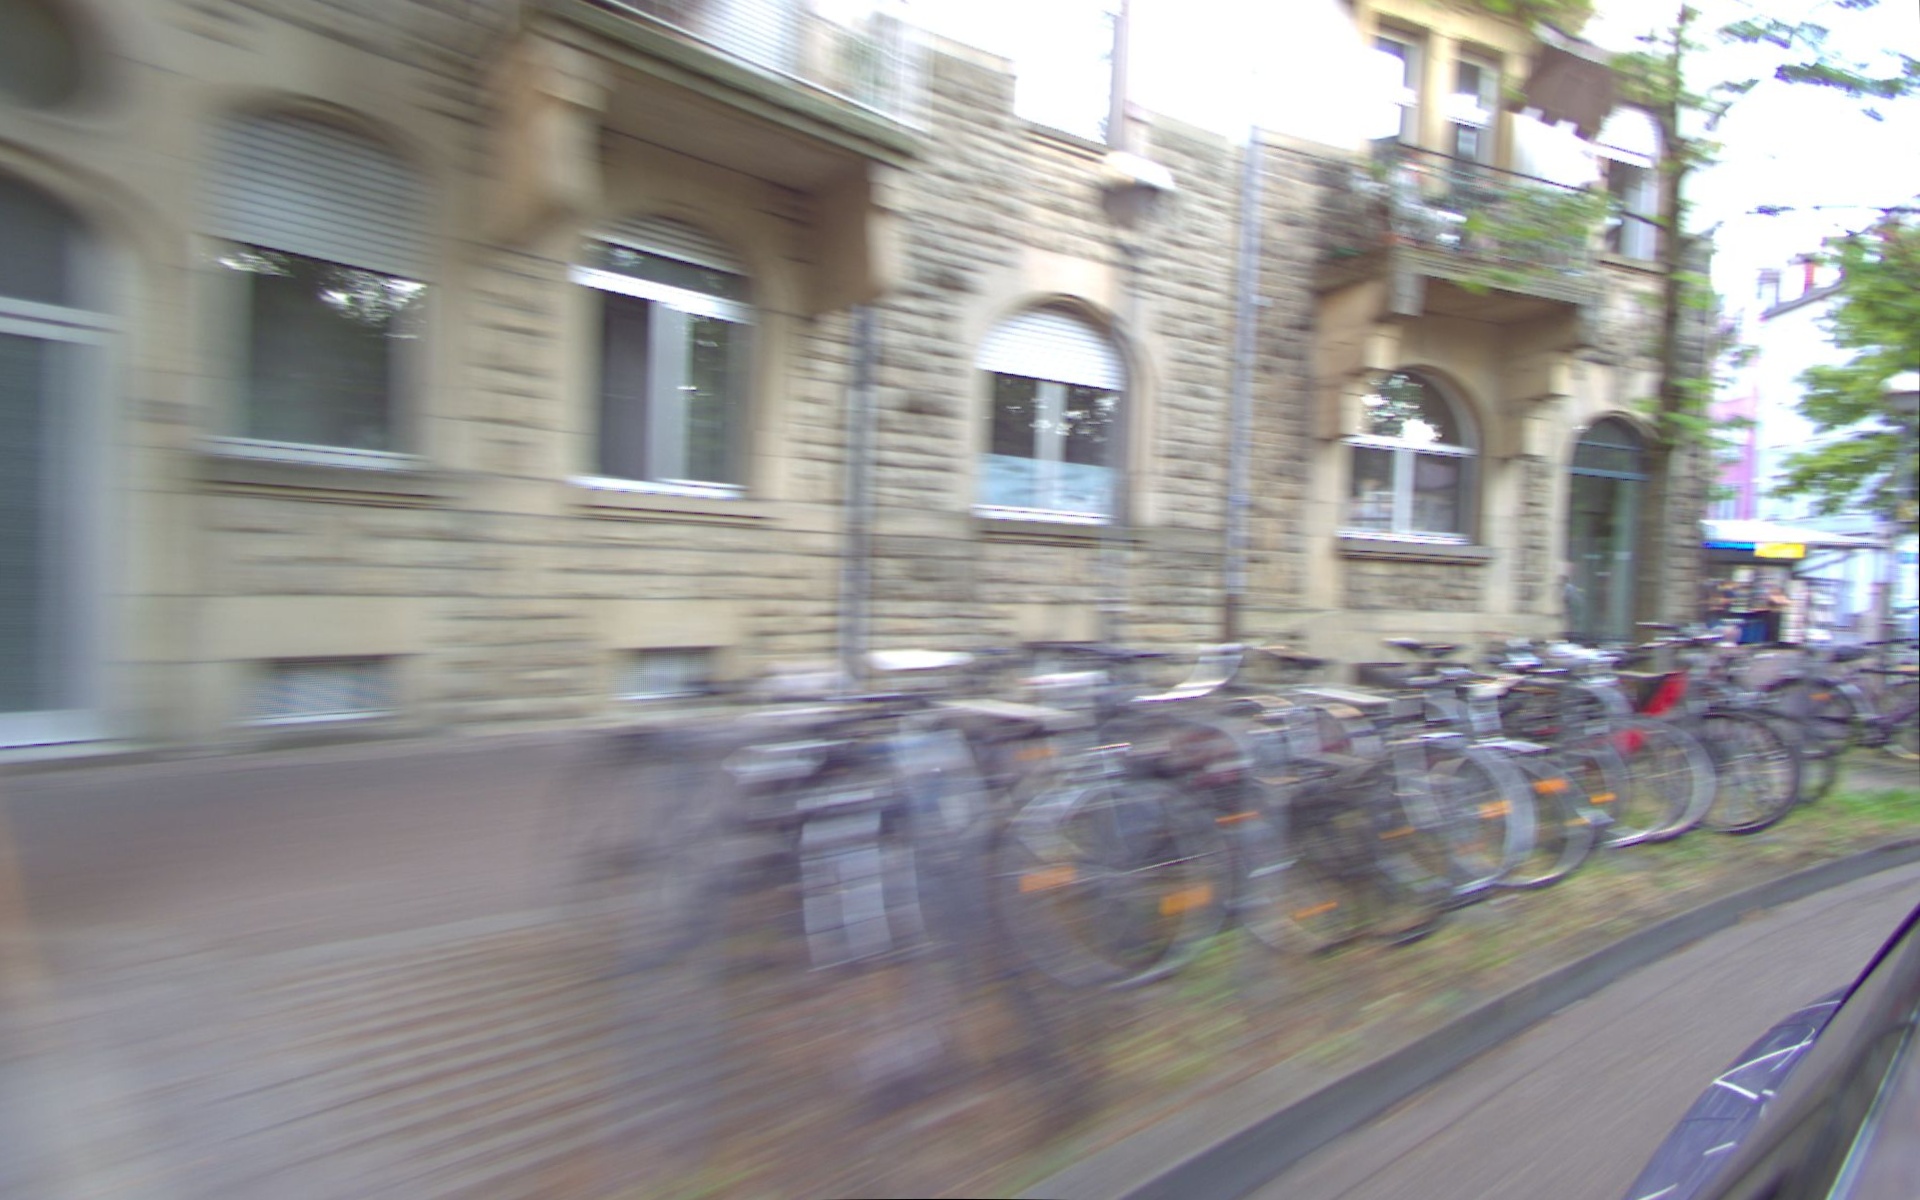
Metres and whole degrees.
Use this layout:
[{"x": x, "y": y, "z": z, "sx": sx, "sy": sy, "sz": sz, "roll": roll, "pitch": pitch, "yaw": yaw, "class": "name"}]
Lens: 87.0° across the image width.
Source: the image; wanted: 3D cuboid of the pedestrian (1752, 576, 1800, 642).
[{"x": 19.862, "y": 0.206, "z": 24.635, "sx": 0.664, "sy": 1.558, "sz": 0.592, "roll": 2, "pitch": 2, "yaw": -21, "class": "pedestrian"}]

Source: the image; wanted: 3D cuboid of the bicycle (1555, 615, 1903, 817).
[{"x": 5.091, "y": 0.699, "z": 6.851, "sx": 0.439, "sy": 1.076, "sz": 1.799, "roll": 1, "pitch": 2, "yaw": -31, "class": "bicycle"}]

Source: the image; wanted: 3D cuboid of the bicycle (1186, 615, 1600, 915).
[{"x": 1.958, "y": 0.668, "z": 4.884, "sx": 0.411, "sy": 1.064, "sz": 1.856, "roll": 1, "pitch": 3, "yaw": -35, "class": "bicycle"}]

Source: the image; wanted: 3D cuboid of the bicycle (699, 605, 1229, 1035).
[{"x": -0.053, "y": 0.634, "z": 3.618, "sx": 1.841, "sy": 1.117, "sz": 0.567, "roll": 4, "pitch": 2, "yaw": 32, "class": "bicycle"}]

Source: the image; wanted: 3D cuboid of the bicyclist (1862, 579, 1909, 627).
[{"x": 32.022, "y": 0.093, "z": 35.035, "sx": 0.712, "sy": 1.603, "sz": 0.875, "roll": 2, "pitch": 2, "yaw": -1, "class": "bicyclist"}]

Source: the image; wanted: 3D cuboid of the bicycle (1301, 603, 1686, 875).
[{"x": 2.764, "y": 0.637, "z": 5.492, "sx": 0.410, "sy": 1.130, "sz": 1.858, "roll": 1, "pitch": 2, "yaw": -31, "class": "bicycle"}]

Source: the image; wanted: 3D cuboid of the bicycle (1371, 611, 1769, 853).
[{"x": 3.473, "y": 0.669, "z": 5.978, "sx": 0.542, "sy": 1.078, "sz": 1.922, "roll": 1, "pitch": 3, "yaw": -34, "class": "bicycle"}]

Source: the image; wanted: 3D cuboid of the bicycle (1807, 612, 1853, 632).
[{"x": 32.935, "y": 0.838, "z": 38.330, "sx": 0.641, "sy": 0.650, "sz": 1.460, "roll": 3, "pitch": 2, "yaw": 10, "class": "bicycle"}]

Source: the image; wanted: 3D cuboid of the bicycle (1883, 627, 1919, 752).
[{"x": 8.576, "y": 0.800, "z": 8.116, "sx": 0.543, "sy": 1.033, "sz": 1.611, "roll": 1, "pitch": 2, "yaw": -24, "class": "bicycle"}]

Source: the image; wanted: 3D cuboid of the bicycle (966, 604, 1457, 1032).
[{"x": 0.841, "y": 0.682, "z": 3.904, "sx": 0.413, "sy": 1.137, "sz": 1.856, "roll": -21, "pitch": 15, "yaw": -32, "class": "bicycle"}]

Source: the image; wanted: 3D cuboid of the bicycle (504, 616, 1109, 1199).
[{"x": -0.546, "y": 0.676, "z": 2.770, "sx": 1.878, "sy": 1.154, "sz": 0.484, "roll": 2, "pitch": -2, "yaw": 42, "class": "bicycle"}]

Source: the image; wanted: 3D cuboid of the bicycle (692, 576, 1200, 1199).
[{"x": -0.187, "y": 0.599, "z": 3.002, "sx": 0.483, "sy": 1.230, "sz": 1.886, "roll": -6, "pitch": 7, "yaw": -35, "class": "bicycle"}]

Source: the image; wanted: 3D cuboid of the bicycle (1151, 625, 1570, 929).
[{"x": 1.728, "y": 0.695, "z": 4.712, "sx": 0.411, "sy": 1.012, "sz": 1.856, "roll": 1, "pitch": 3, "yaw": -35, "class": "bicycle"}]

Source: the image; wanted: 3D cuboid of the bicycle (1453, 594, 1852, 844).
[{"x": 4.150, "y": 0.622, "z": 6.253, "sx": 0.542, "sy": 1.214, "sz": 1.922, "roll": 1, "pitch": 3, "yaw": -34, "class": "bicycle"}]

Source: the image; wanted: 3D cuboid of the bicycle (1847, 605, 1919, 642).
[{"x": 31.995, "y": 0.793, "z": 35.007, "sx": 0.715, "sy": 1.108, "sz": 2.049, "roll": 2, "pitch": 2, "yaw": -1, "class": "bicycle"}]

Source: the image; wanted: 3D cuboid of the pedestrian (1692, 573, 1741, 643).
[{"x": 18.403, "y": 0.186, "z": 24.628, "sx": 0.667, "sy": 1.657, "sz": 0.590, "roll": 3, "pitch": 2, "yaw": 8, "class": "pedestrian"}]

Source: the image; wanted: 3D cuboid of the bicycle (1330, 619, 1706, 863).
[{"x": 3.011, "y": 0.685, "z": 5.696, "sx": 0.410, "sy": 1.026, "sz": 1.858, "roll": 1, "pitch": 2, "yaw": -31, "class": "bicycle"}]

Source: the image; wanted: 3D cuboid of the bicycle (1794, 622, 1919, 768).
[{"x": 7.671, "y": 0.774, "z": 7.978, "sx": 0.410, "sy": 1.076, "sz": 1.611, "roll": 1, "pitch": 2, "yaw": -28, "class": "bicycle"}]

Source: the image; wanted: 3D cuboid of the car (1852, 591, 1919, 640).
[{"x": 34.155, "y": 0.538, "z": 35.957, "sx": 1.777, "sy": 1.612, "sz": 4.133, "roll": 0, "pitch": 1, "yaw": 10, "class": "car"}]

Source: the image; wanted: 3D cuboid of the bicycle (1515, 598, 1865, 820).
[{"x": 4.718, "y": 0.632, "z": 6.701, "sx": 0.439, "sy": 1.182, "sz": 1.799, "roll": 1, "pitch": 2, "yaw": -31, "class": "bicycle"}]

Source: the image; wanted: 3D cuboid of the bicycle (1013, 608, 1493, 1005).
[{"x": 1.053, "y": 0.681, "z": 4.070, "sx": 0.413, "sy": 1.099, "sz": 1.856, "roll": -21, "pitch": 15, "yaw": -32, "class": "bicycle"}]

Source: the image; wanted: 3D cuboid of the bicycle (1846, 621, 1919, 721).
[{"x": 10.154, "y": 0.740, "z": 10.630, "sx": 1.690, "sy": 0.981, "sz": 0.433, "roll": 2, "pitch": 2, "yaw": -18, "class": "bicycle"}]

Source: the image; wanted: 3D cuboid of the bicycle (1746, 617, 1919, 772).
[{"x": 7.258, "y": 0.733, "z": 7.969, "sx": 0.410, "sy": 1.089, "sz": 1.611, "roll": 1, "pitch": 2, "yaw": -28, "class": "bicycle"}]

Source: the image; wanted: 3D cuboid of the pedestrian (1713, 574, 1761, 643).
[{"x": 19.064, "y": 0.200, "z": 24.833, "sx": 0.664, "sy": 1.657, "sz": 0.592, "roll": 2, "pitch": 2, "yaw": -21, "class": "pedestrian"}]

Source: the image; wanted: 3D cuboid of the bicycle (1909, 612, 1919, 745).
[{"x": 8.974, "y": 0.736, "z": 8.294, "sx": 0.543, "sy": 1.162, "sz": 1.611, "roll": 1, "pitch": 2, "yaw": -24, "class": "bicycle"}]

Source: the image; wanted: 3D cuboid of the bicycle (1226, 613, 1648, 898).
[{"x": 2.316, "y": 0.670, "z": 5.202, "sx": 0.525, "sy": 1.074, "sz": 1.922, "roll": 1, "pitch": 3, "yaw": -34, "class": "bicycle"}]

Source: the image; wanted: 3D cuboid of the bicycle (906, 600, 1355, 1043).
[{"x": 0.485, "y": 0.632, "z": 3.745, "sx": 0.411, "sy": 1.158, "sz": 1.856, "roll": 1, "pitch": 3, "yaw": -35, "class": "bicycle"}]

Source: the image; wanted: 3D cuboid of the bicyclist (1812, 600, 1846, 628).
[{"x": 32.962, "y": 0.513, "z": 38.401, "sx": 0.638, "sy": 0.989, "sz": 0.728, "roll": 3, "pitch": 2, "yaw": 10, "class": "bicyclist"}]
